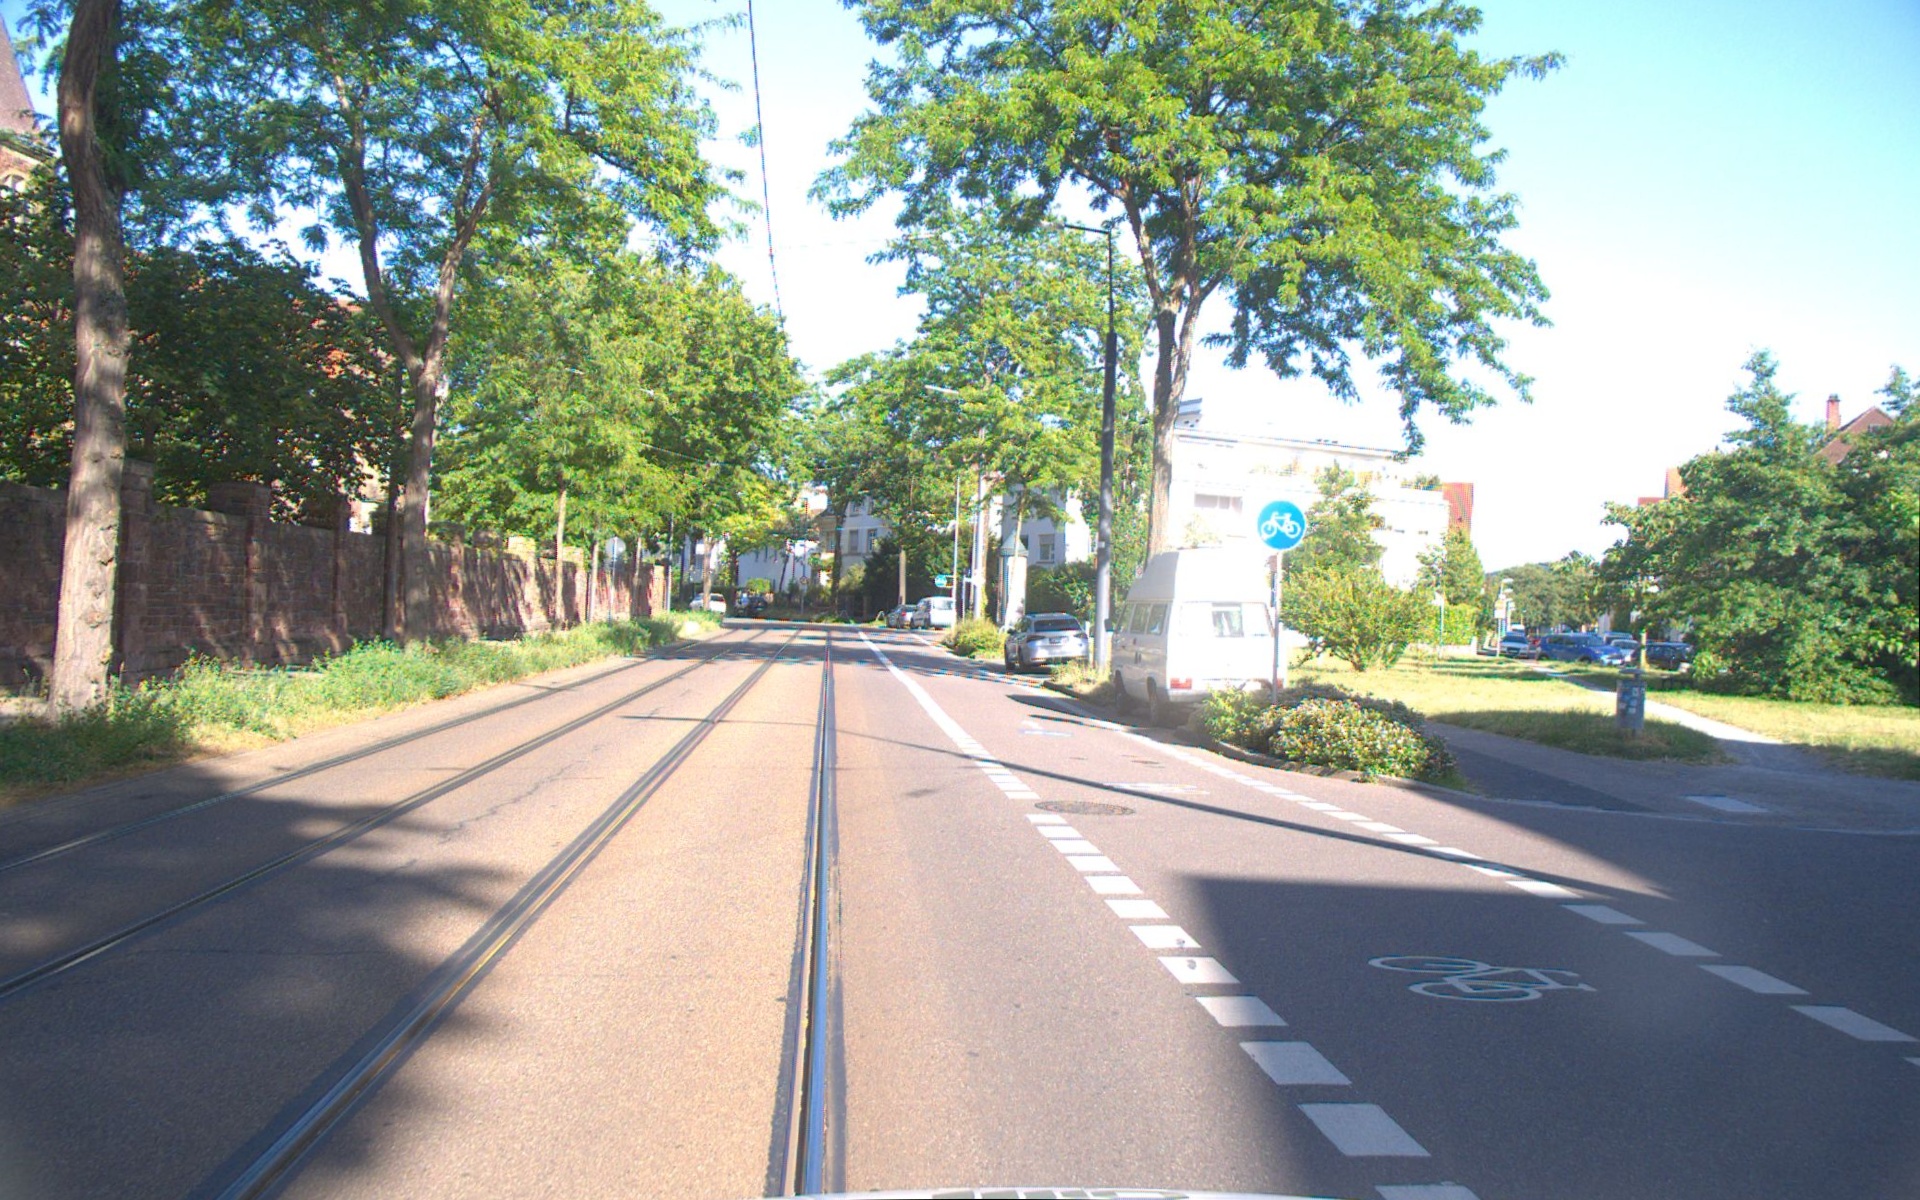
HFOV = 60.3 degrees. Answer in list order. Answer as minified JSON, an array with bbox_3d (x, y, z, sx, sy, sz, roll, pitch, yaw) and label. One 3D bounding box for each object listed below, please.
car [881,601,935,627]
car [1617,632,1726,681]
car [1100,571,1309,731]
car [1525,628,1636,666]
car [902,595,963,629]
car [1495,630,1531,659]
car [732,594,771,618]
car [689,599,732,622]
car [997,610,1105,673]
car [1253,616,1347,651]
[{"bbox_3d":[-3.125,0.837,99.231,1.964,1.448,4.306,2,-1,-20],"label":"car"},{"bbox_3d":[29.588,2.344,68.887,1.964,1.811,3.976,3,0,-20],"label":"car"},{"bbox_3d":[3.555,0.692,25.007,1.955,2.132,4.710,2,0,-6],"label":"car"},{"bbox_3d":[28.188,2.106,75.259,2.030,1.496,4.722,2,0,-23],"label":"car"},{"bbox_3d":[-1.574,0.661,93.453,1.992,1.777,4.725,2,0,-20],"label":"car"},{"bbox_3d":[34.595,2.770,103.558,2.002,1.738,4.289,2,-1,18],"label":"car"},{"bbox_3d":[-16.421,0.453,130.202,1.780,1.723,4.694,-1,1,-23],"label":"car"},{"bbox_3d":[-18.818,0.809,124.496,1.871,1.639,4.189,3,-2,-28],"label":"car"},{"bbox_3d":[2.298,1.032,43.272,1.962,1.491,5.426,-1,0,-6],"label":"car"},{"bbox_3d":[16.764,1.676,81.533,4.212,1.537,1.831,2,-3,-17],"label":"car"}]
